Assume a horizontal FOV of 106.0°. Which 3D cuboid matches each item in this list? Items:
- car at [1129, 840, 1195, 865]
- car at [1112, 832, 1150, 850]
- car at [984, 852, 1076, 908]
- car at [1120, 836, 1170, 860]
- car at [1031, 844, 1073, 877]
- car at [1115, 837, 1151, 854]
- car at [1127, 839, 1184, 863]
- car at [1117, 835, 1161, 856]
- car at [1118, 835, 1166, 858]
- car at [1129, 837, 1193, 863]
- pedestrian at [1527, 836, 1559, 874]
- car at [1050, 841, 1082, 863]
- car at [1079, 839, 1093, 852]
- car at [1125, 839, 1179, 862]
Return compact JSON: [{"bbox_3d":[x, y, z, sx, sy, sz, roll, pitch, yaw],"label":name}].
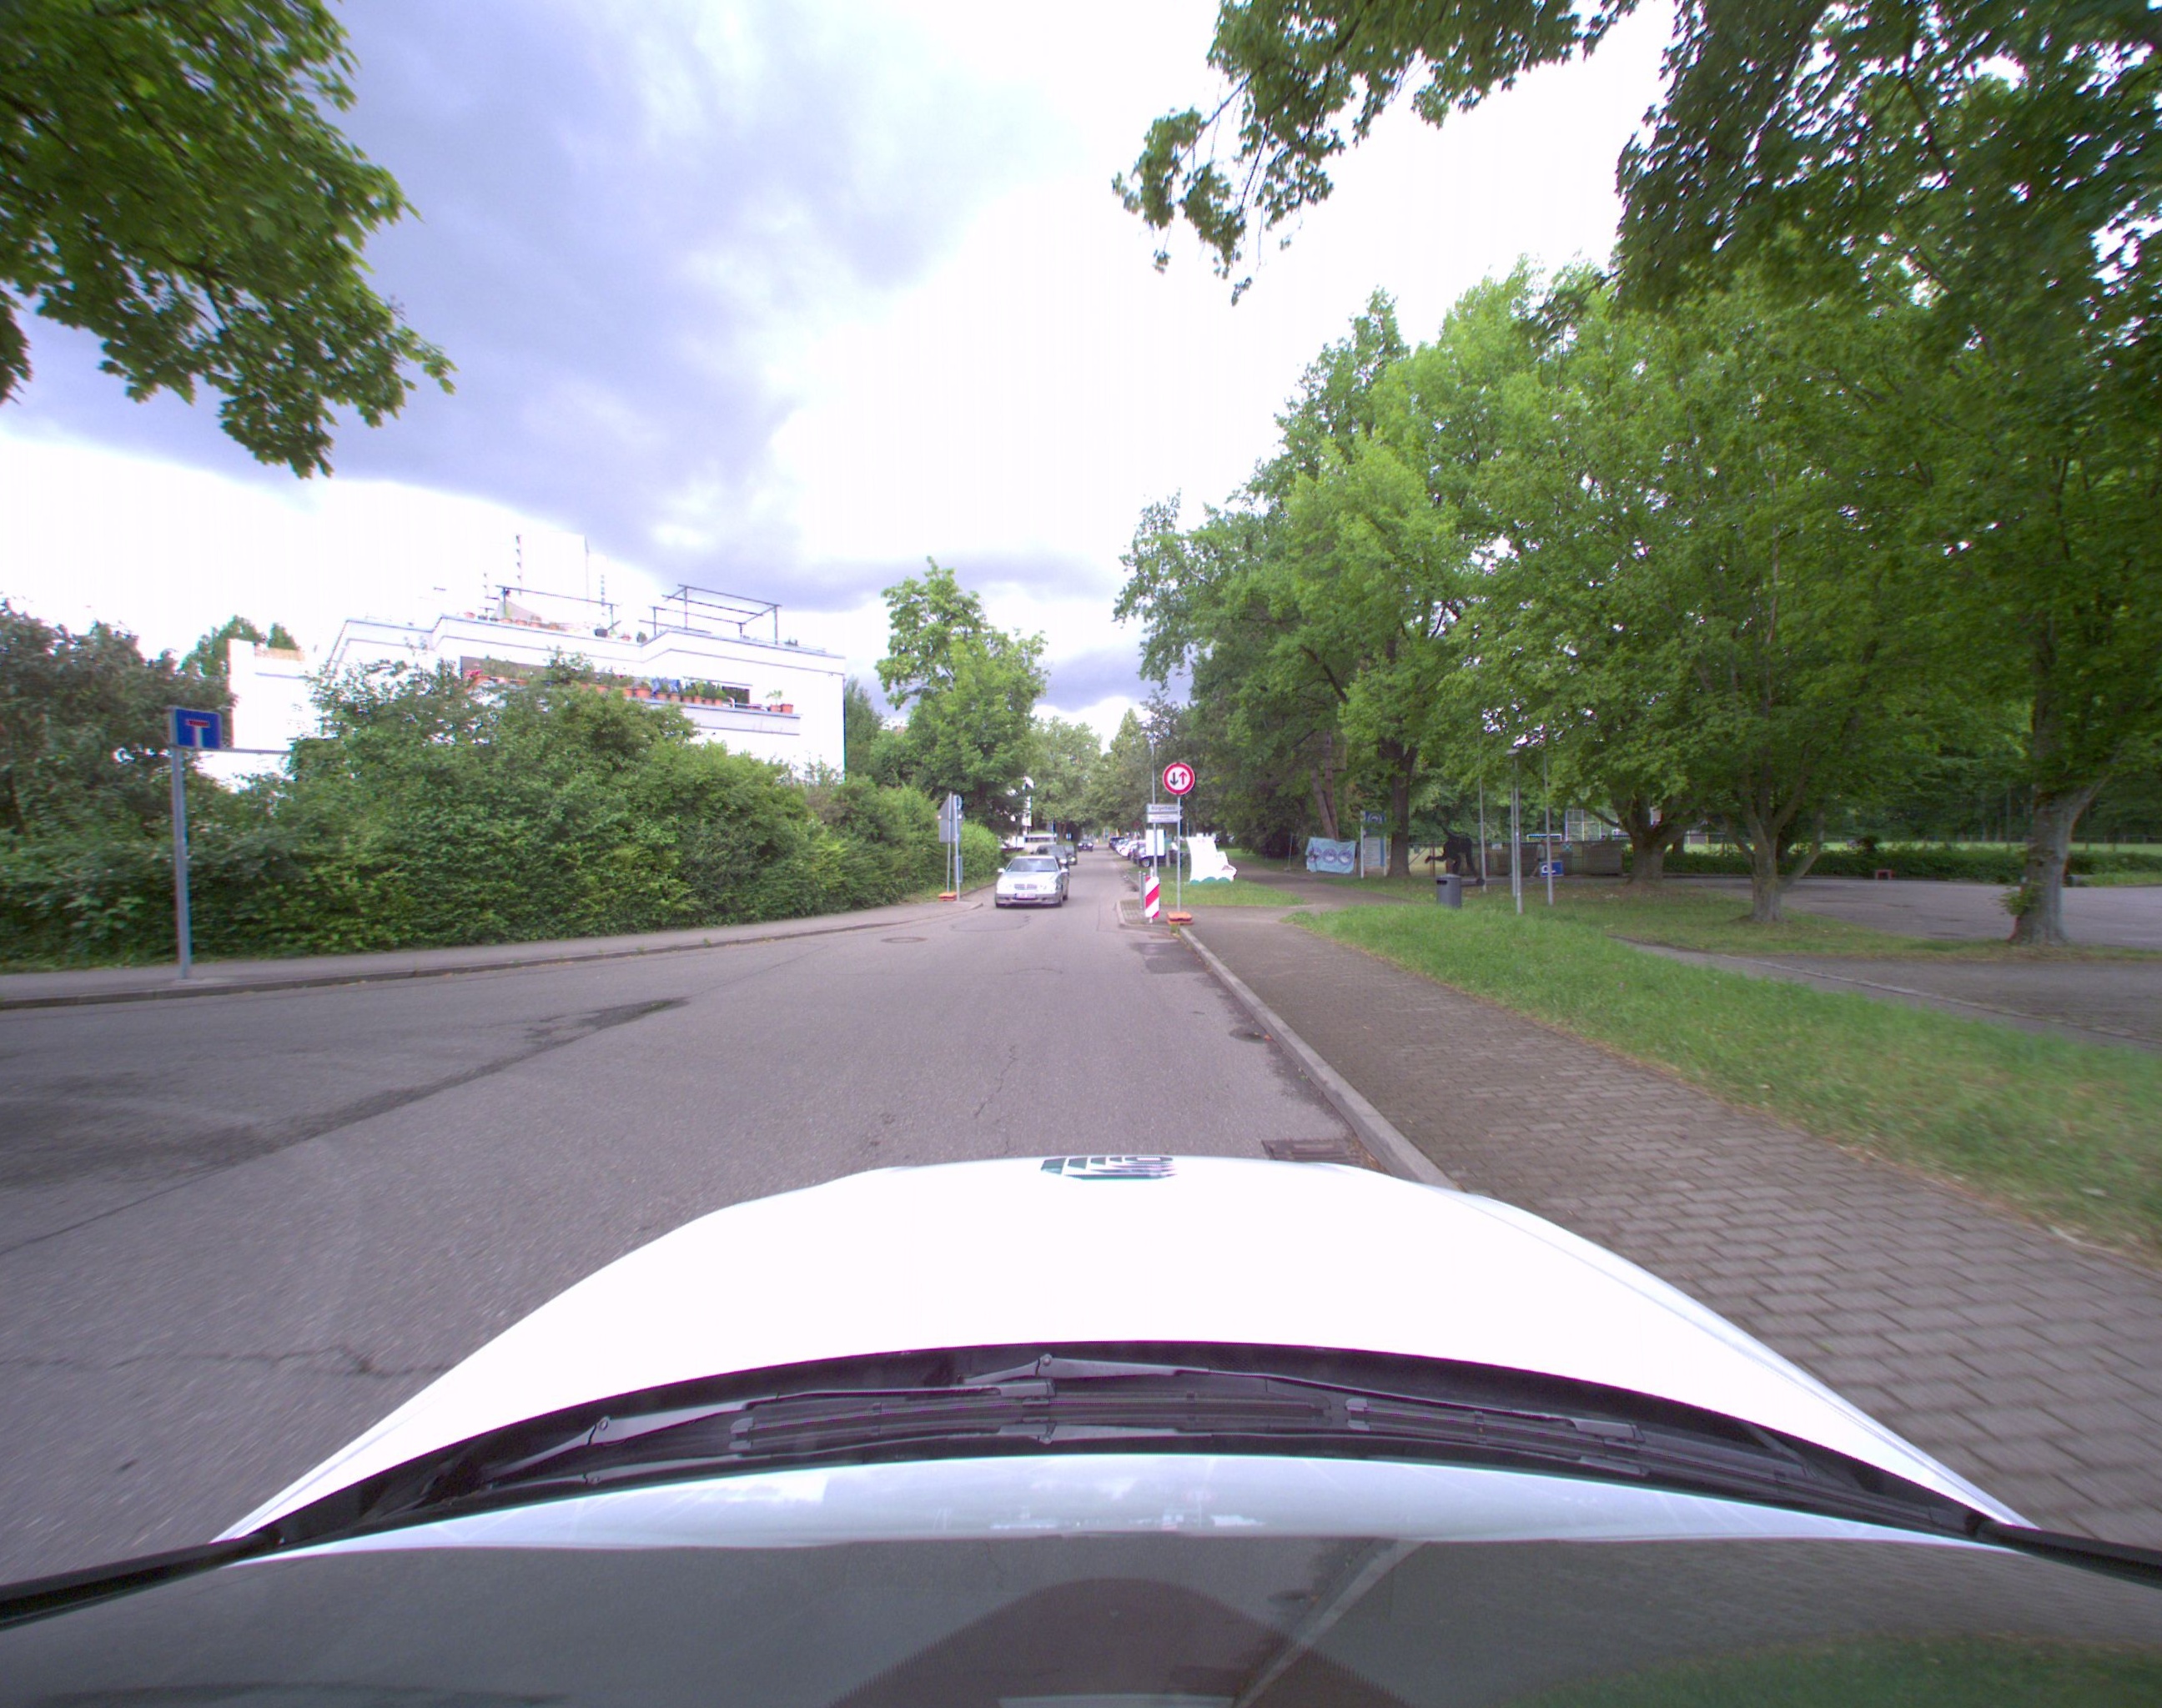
[{"bbox_3d":[5.204,-0.073,52.637,4.049,1.434,2.000,-3,-1,0],"label":"car"},{"bbox_3d":[5.771,-1.461,93.769,4.053,1.687,1.821,-5,1,-3],"label":"car"},{"bbox_3d":[-1.275,0.638,22.292,1.772,1.306,4.304,-1,1,6],"label":"car"},{"bbox_3d":[5.526,-0.506,70.418,4.053,1.687,1.821,-5,1,-3],"label":"car"},{"bbox_3d":[-1.428,0.277,41.678,1.796,1.591,4.298,-1,1,2],"label":"car"},{"bbox_3d":[6.370,-1.034,99.740,4.053,1.687,1.821,-5,1,-3],"label":"car"},{"bbox_3d":[5.477,-0.226,60.147,4.049,1.568,1.822,-3,1,0],"label":"car"},{"bbox_3d":[5.696,-0.811,79.844,4.053,1.687,1.821,-5,1,-3],"label":"car"},{"bbox_3d":[5.536,-0.679,74.282,4.053,1.687,1.821,-5,1,-3],"label":"car"},{"bbox_3d":[5.353,-0.251,54.920,4.049,1.568,1.822,-3,-1,0],"label":"car"},{"bbox_3d":[20.769,0.047,36.604,1.137,1.674,0.798,-3,-1,26],"label":"pedestrian"},{"bbox_3d":[-1.094,-0.152,62.099,1.793,1.591,4.305,-1,1,7],"label":"car"},{"bbox_3d":[0.666,-1.184,115.540,1.962,1.747,4.338,-1,1,0],"label":"car"},{"bbox_3d":[5.642,-0.307,64.952,4.053,1.488,1.821,-5,1,-3],"label":"car"}]
